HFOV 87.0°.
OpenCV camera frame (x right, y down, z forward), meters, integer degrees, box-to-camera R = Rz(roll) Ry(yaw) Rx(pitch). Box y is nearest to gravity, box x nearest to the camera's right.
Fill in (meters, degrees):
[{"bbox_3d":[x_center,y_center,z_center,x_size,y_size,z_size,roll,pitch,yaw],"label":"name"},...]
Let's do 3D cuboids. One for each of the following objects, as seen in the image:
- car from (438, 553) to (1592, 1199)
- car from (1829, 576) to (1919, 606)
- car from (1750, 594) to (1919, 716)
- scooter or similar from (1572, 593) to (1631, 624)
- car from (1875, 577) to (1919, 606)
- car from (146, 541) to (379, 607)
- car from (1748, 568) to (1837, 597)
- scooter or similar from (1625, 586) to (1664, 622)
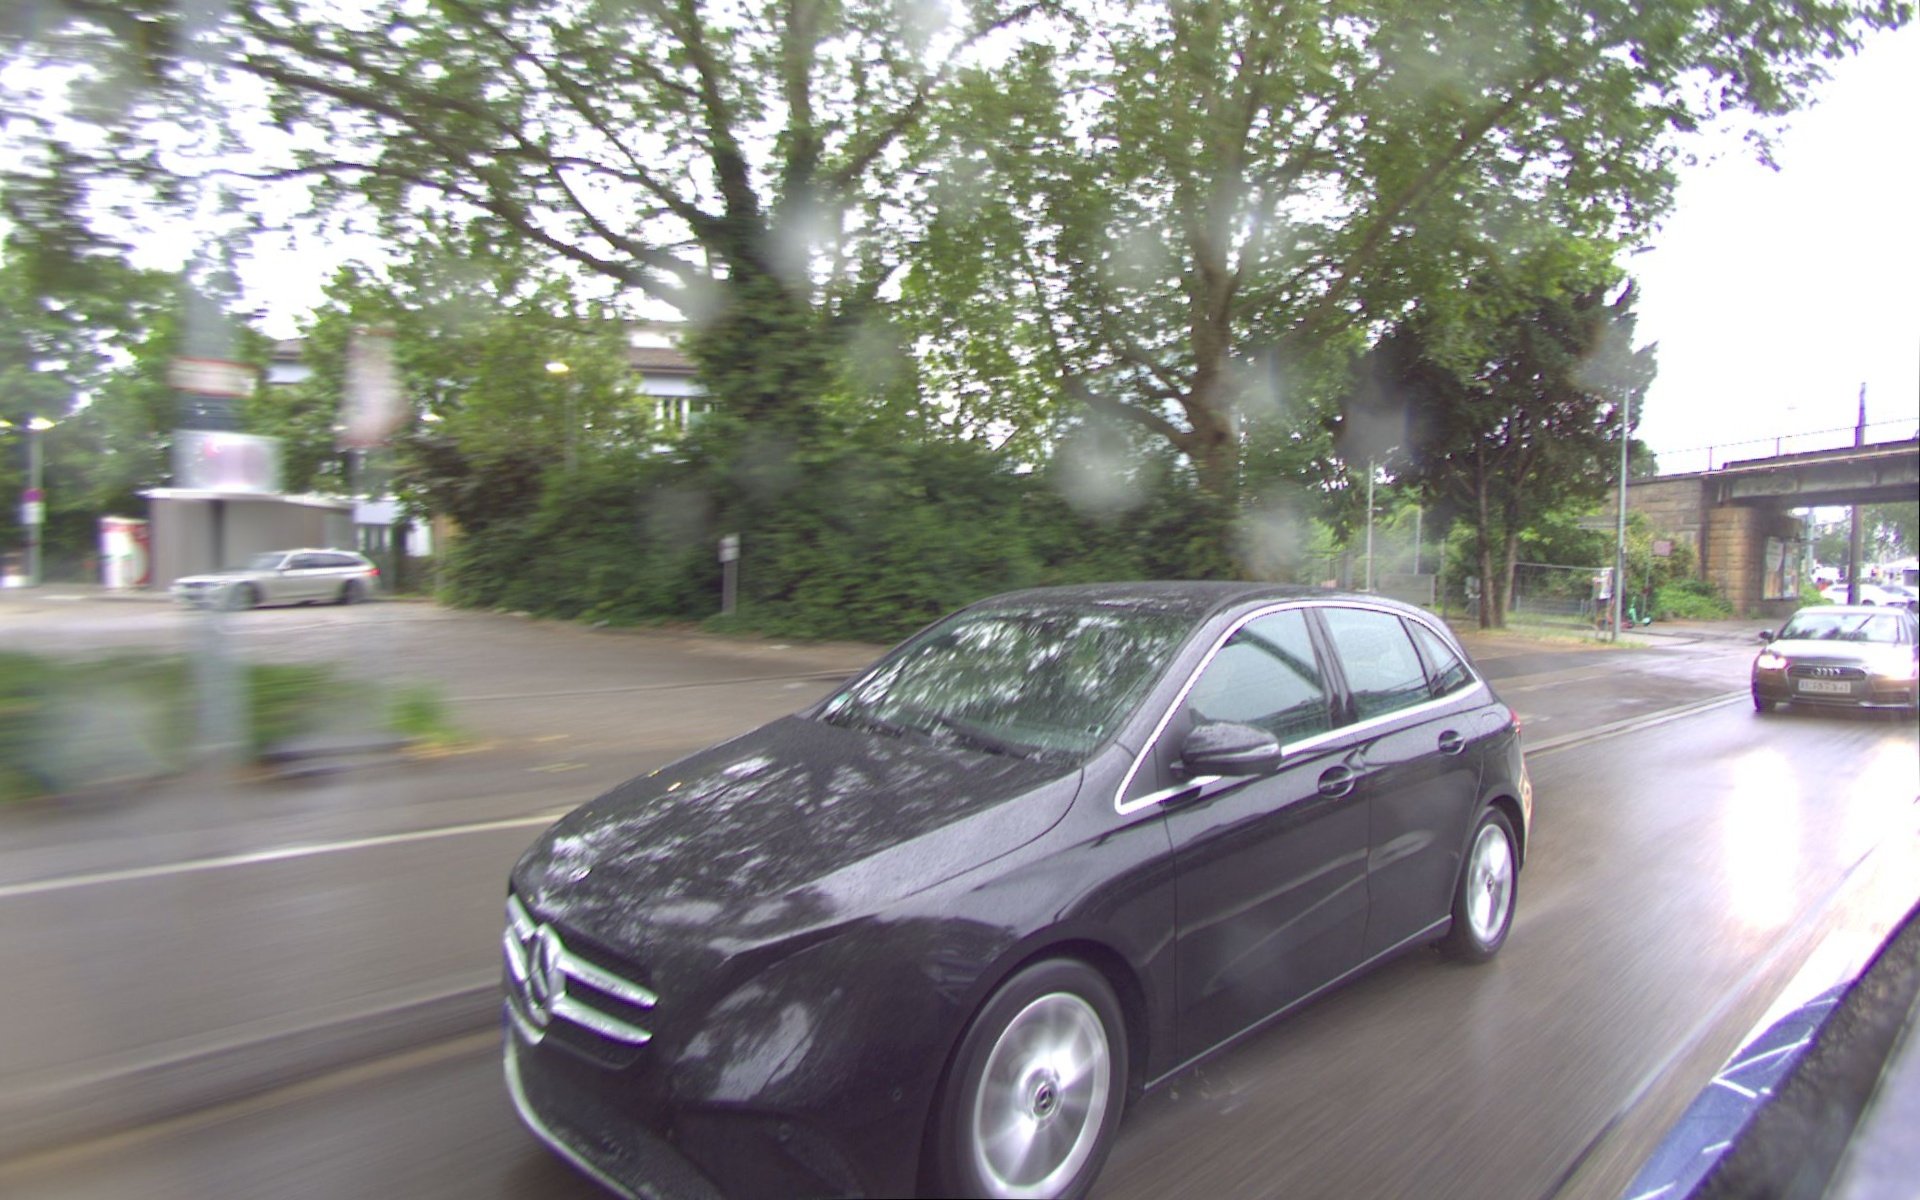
[{"bbox_3d":[0.700,0.659,3.780,4.350,1.548,1.818,-4,3,-44],"label":"car"},{"bbox_3d":[55.776,-0.559,61.579,1.835,1.720,4.427,1,1,-1],"label":"car"},{"bbox_3d":[12.274,0.637,13.741,3.713,1.402,1.641,-1,1,-39],"label":"car"},{"bbox_3d":[21.407,0.287,33.770,1.705,1.022,0.454,0,0,-3],"label":"scooter or similar"},{"bbox_3d":[58.701,-0.509,61.652,1.831,1.720,4.006,1,1,-14],"label":"car"},{"bbox_3d":[-17.382,-0.671,25.542,1.974,1.506,4.606,0,2,18],"label":"car"},{"bbox_3d":[51.091,-1.088,62.175,4.143,1.720,1.842,2,1,42],"label":"car"},{"bbox_3d":[23.224,0.128,34.336,1.792,1.174,0.454,0,0,-34],"label":"scooter or similar"}]
